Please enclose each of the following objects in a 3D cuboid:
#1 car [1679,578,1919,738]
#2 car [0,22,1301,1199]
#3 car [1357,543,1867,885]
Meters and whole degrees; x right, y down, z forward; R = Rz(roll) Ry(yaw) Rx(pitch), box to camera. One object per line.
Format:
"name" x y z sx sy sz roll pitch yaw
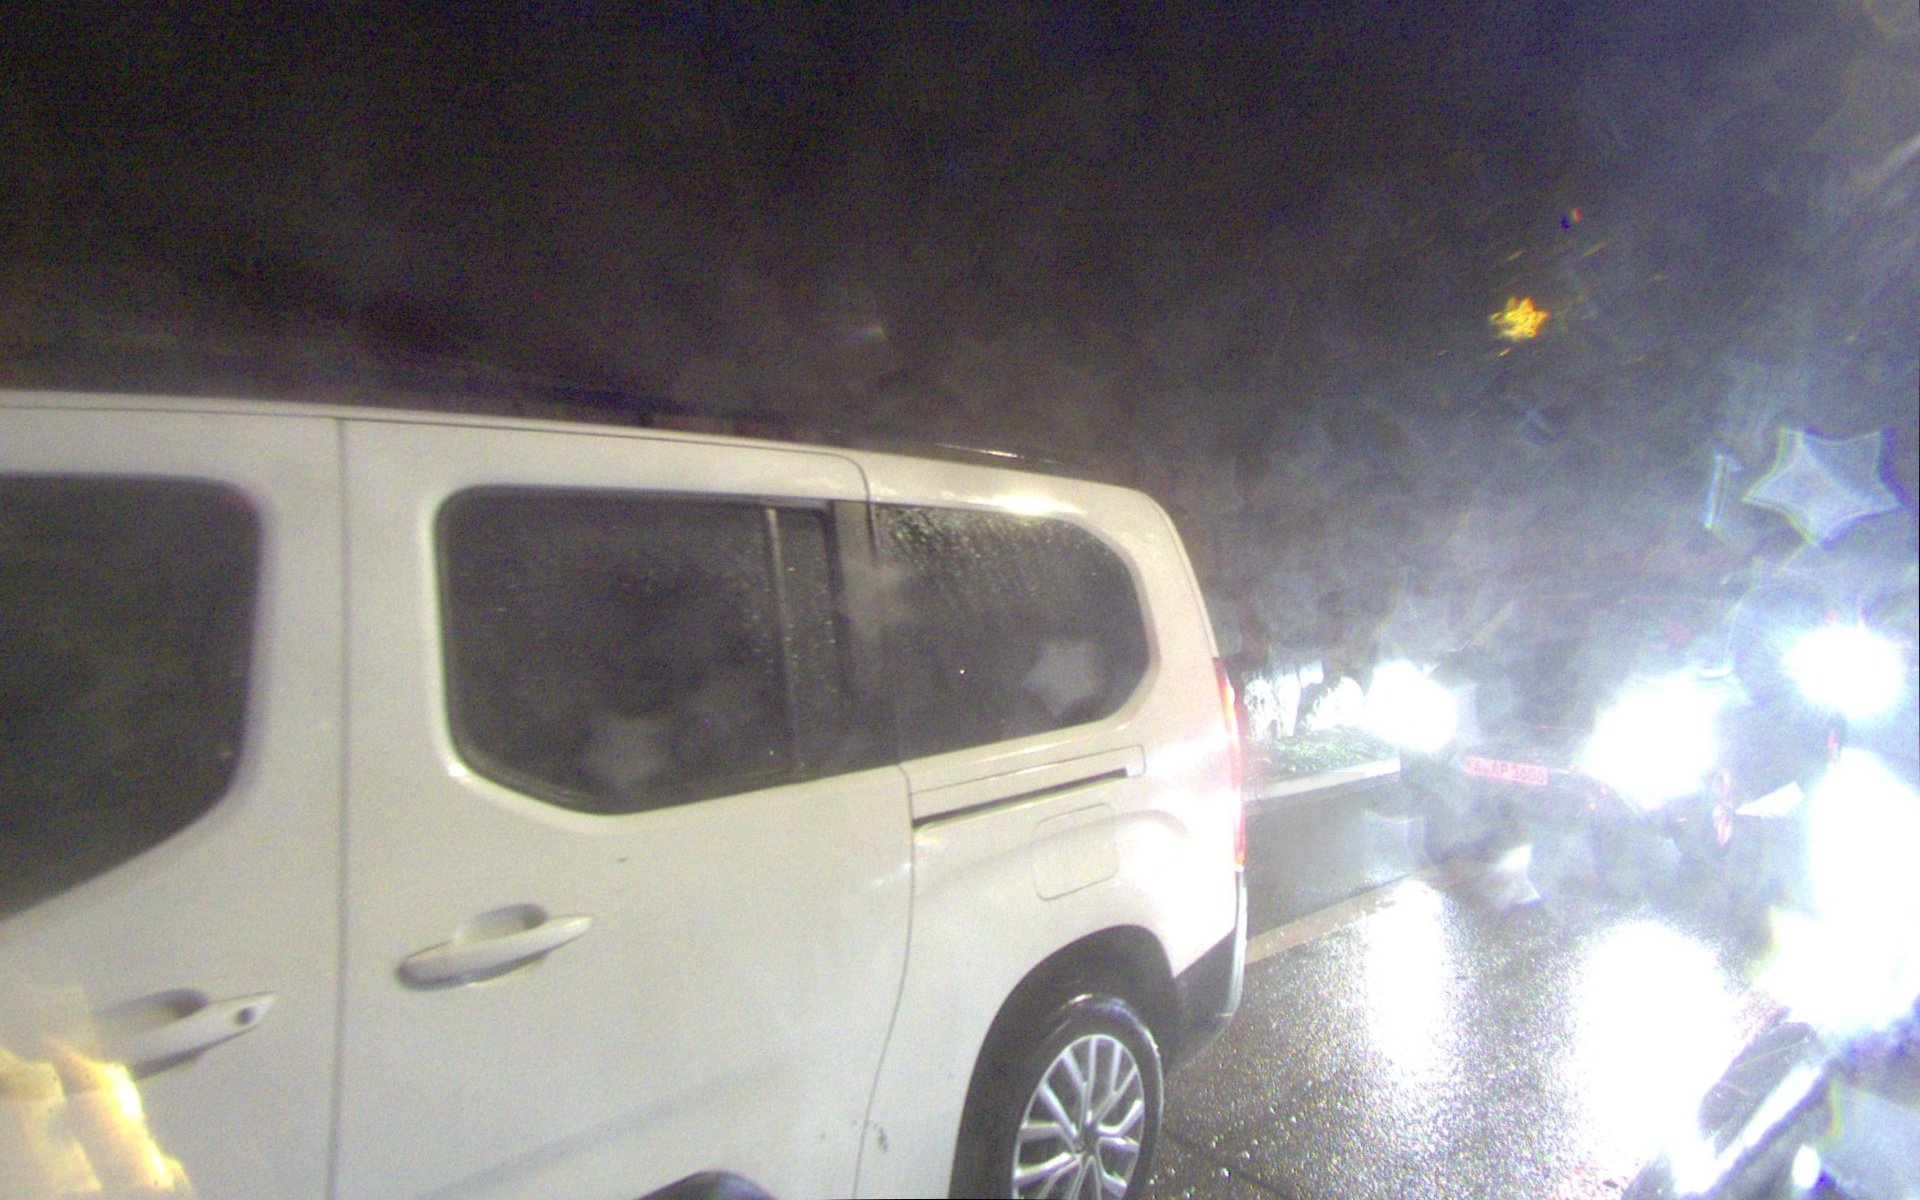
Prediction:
"car" 10.709 0.597 12.654 4.358 1.669 1.787 0 0 -41
"car" -1.337 0.454 1.827 4.502 2.047 1.793 0 1 -43
"car" 4.714 0.558 7.086 4.142 1.715 1.790 0 0 -39
